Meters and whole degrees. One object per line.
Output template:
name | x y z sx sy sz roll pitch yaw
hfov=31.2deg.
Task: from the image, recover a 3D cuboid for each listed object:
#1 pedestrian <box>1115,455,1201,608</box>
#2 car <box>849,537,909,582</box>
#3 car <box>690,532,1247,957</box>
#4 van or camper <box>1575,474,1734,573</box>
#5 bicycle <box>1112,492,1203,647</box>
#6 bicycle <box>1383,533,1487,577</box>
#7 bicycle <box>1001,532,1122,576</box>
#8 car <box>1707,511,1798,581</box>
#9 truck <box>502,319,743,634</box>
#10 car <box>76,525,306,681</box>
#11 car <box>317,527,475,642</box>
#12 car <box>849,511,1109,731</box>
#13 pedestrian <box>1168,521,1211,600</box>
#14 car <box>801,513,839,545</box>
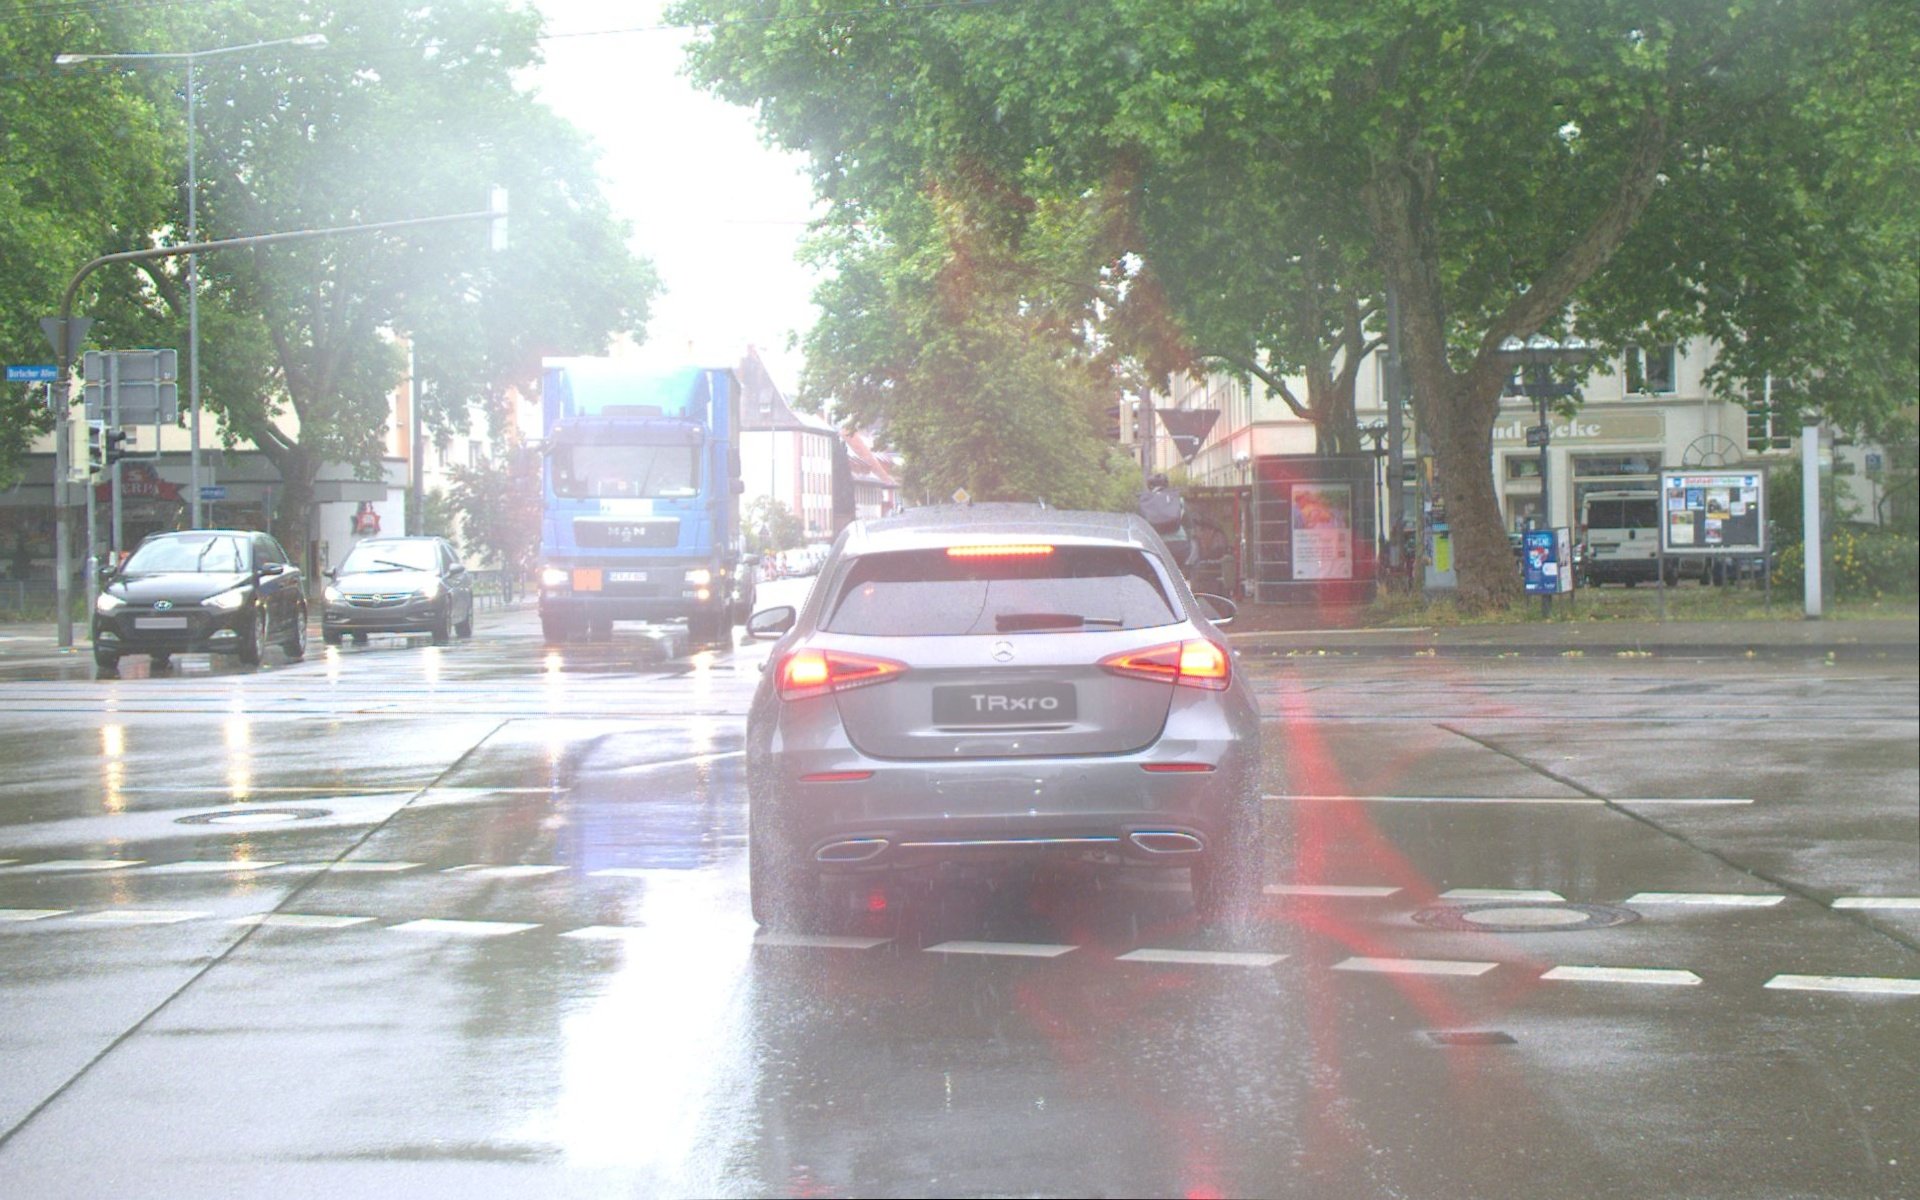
pedestrian | 1.882 -0.649 32.537 0.744 1.393 1.047 -2 1 5
car | -2.927 -1.454 123.587 1.993 1.568 4.001 -1 1 -3
car | -0.039 0.436 12.862 1.791 1.368 3.507 0 1 -2
van or camper | 16.442 -1.793 81.194 2.399 2.224 5.422 -1 1 26
bicycle | 1.876 -0.307 32.342 0.749 1.372 2.707 -2 1 5
bicycle | 10.737 -1.016 77.774 2.249 0.965 0.584 -1 1 21
bicycle | 2.867 -1.301 97.300 3.205 1.108 1.054 -1 -3 -20
car | 18.482 -1.235 80.087 1.681 1.570 3.732 -1 0 18
truck | -4.703 -1.694 49.800 2.845 4.011 10.318 -2 1 -3
car | -8.208 -0.003 36.984 1.743 1.541 3.779 -2 1 -3
car | -8.101 -0.257 49.688 1.726 1.541 4.341 -2 1 -3
car | 0.057 0.096 24.047 1.607 1.368 4.001 -2 1 -2
pedestrian | 4.849 -0.837 72.601 0.716 1.663 0.665 -1 1 -13
car | -8.127 -4.106 199.382 1.889 1.830 4.000 -1 1 2
